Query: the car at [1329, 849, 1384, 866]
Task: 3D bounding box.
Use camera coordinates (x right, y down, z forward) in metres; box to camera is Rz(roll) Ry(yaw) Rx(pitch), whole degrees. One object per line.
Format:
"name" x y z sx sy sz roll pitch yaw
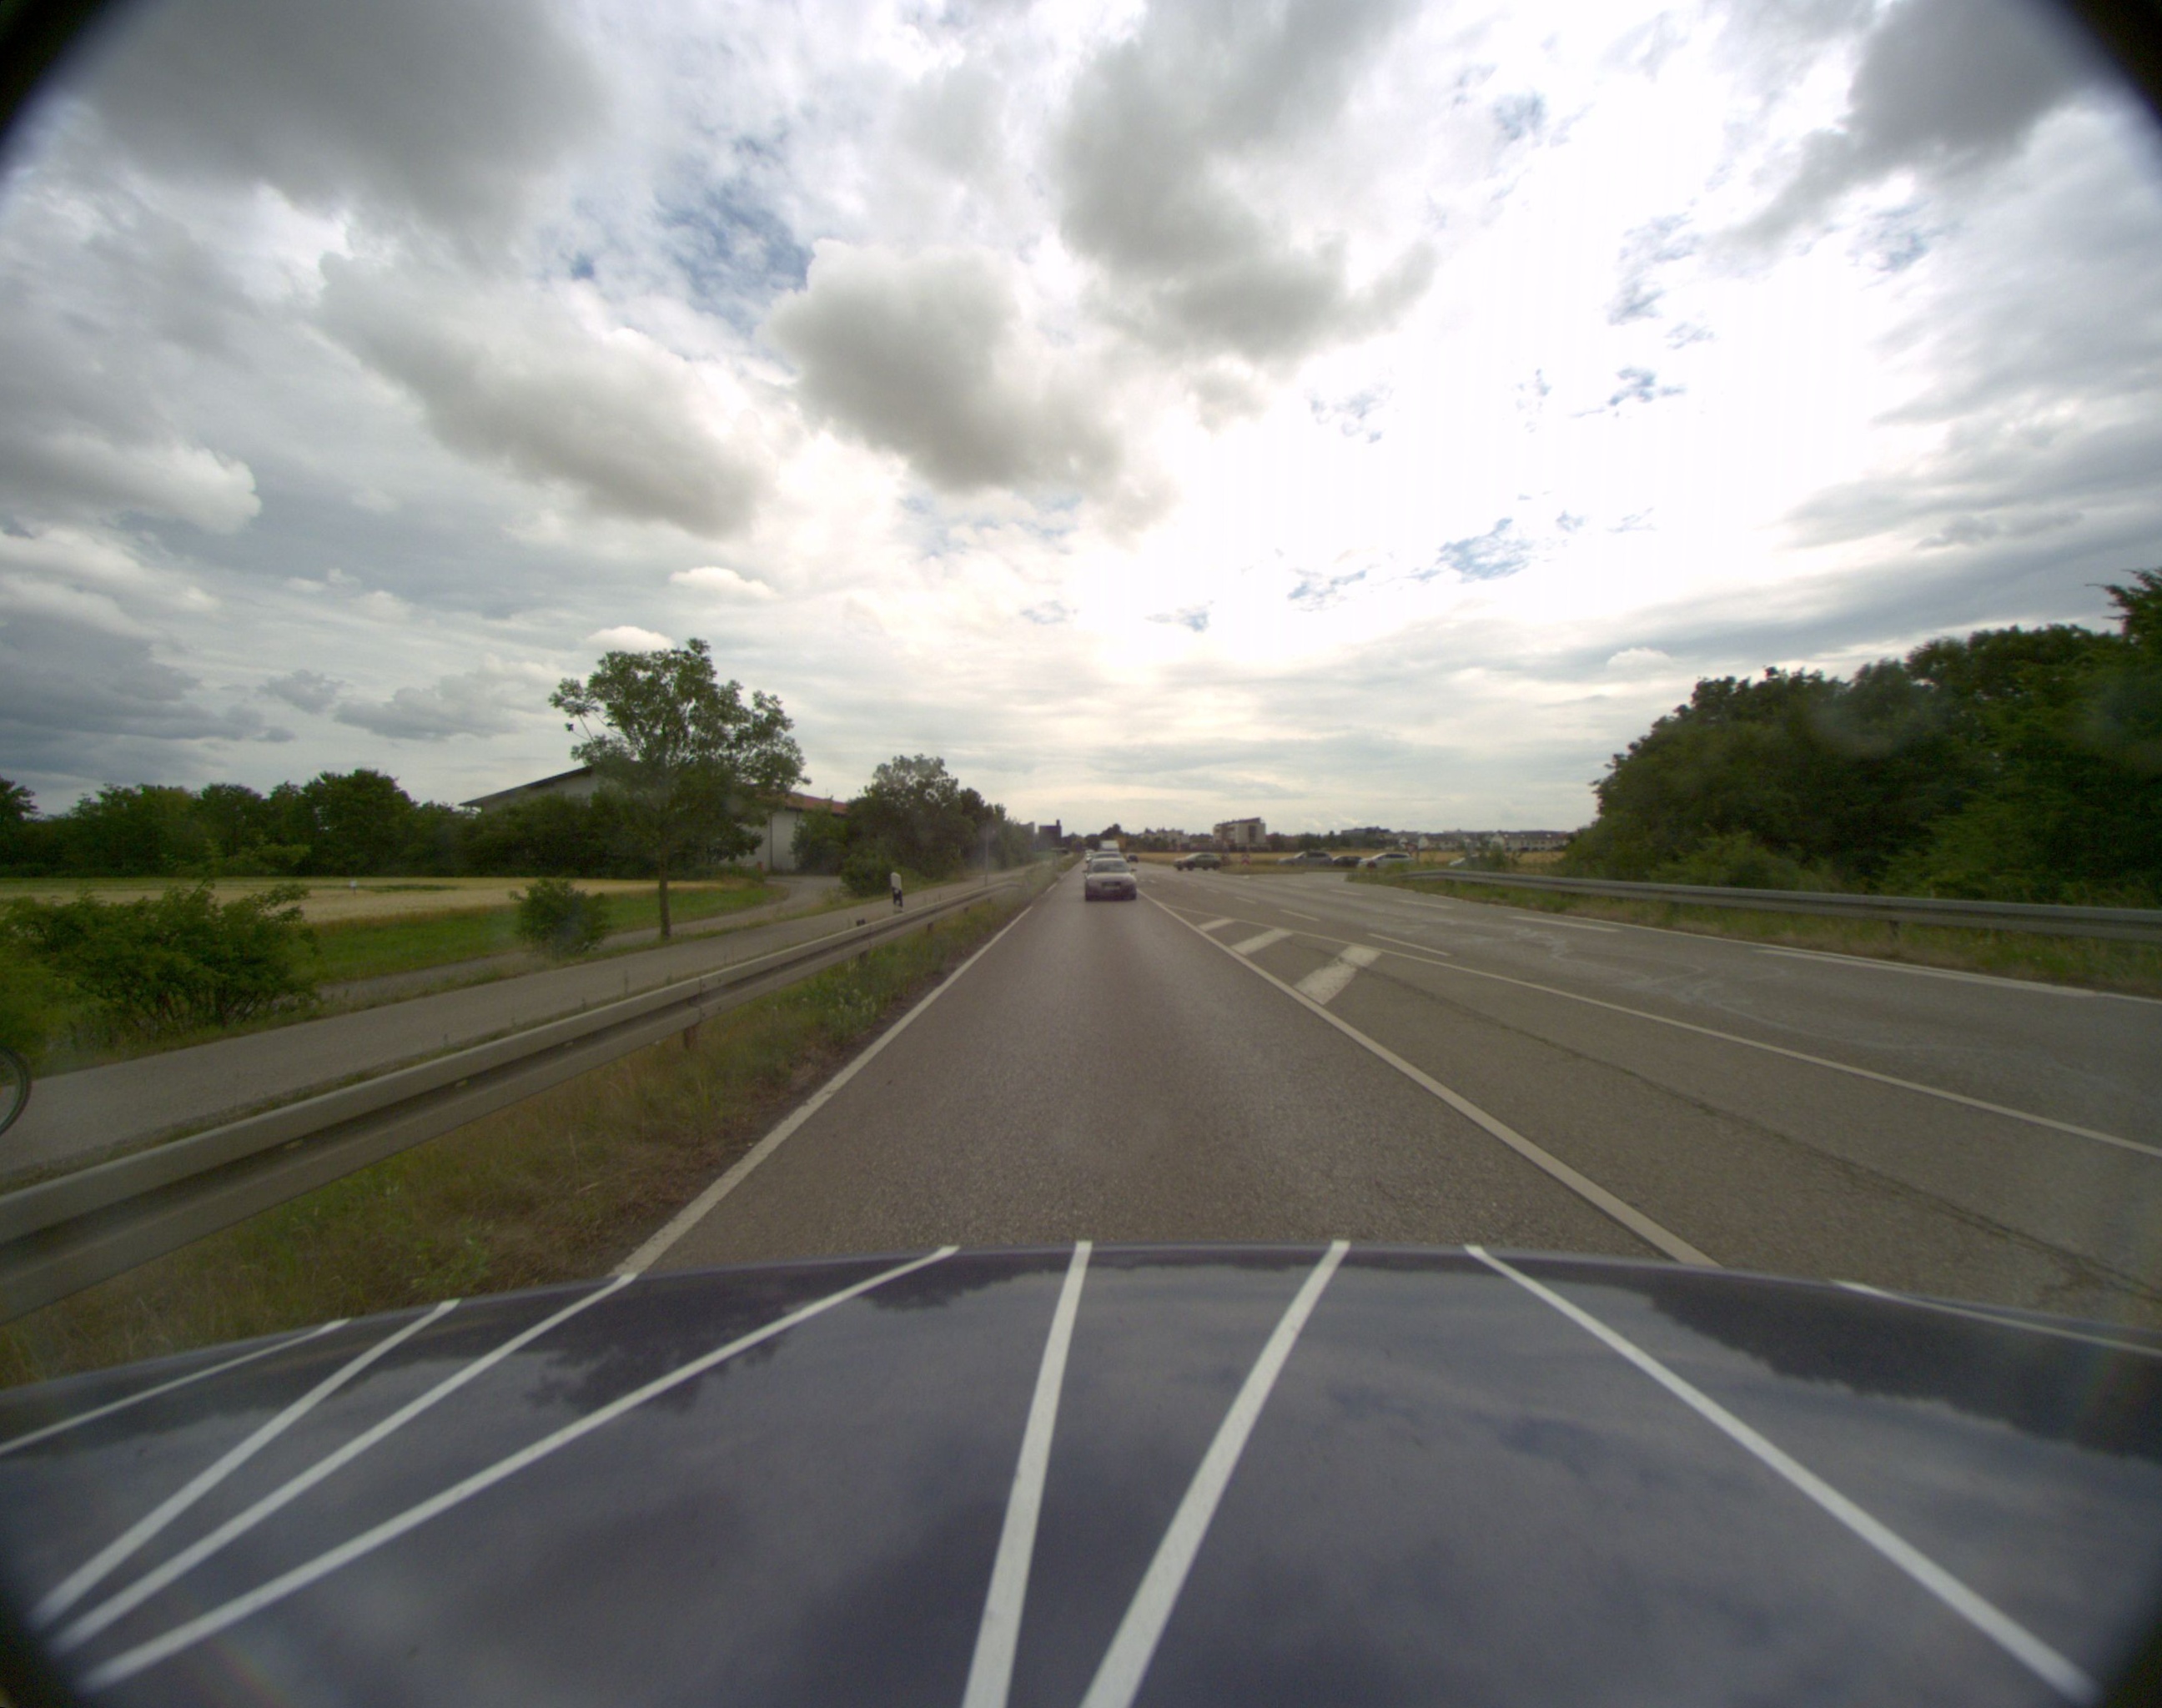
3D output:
"car" 24.837 0.284 68.658 4.406 1.474 1.912 0 1 7

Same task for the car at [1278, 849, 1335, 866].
"car" 19.829 0.297 66.984 4.633 1.508 1.912 0 1 7

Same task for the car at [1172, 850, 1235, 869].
"car" 10.627 0.460 65.915 5.310 1.512 1.907 -1 1 -27

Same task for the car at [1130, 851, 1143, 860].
"car" 8.485 0.235 116.962 1.867 1.368 4.000 -1 1 3

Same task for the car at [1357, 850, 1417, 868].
"car" 26.421 0.407 65.686 4.500 1.474 1.912 0 1 7

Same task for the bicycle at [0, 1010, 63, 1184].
"bicycle" -6.350 1.387 3.557 0.667 0.915 1.830 -1 1 1

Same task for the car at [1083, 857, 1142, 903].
"car" 1.045 0.857 27.101 1.909 1.416 4.464 0 1 0

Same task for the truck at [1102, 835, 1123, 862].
"truck" 4.419 -0.832 108.415 2.813 3.588 11.218 0 1 1
